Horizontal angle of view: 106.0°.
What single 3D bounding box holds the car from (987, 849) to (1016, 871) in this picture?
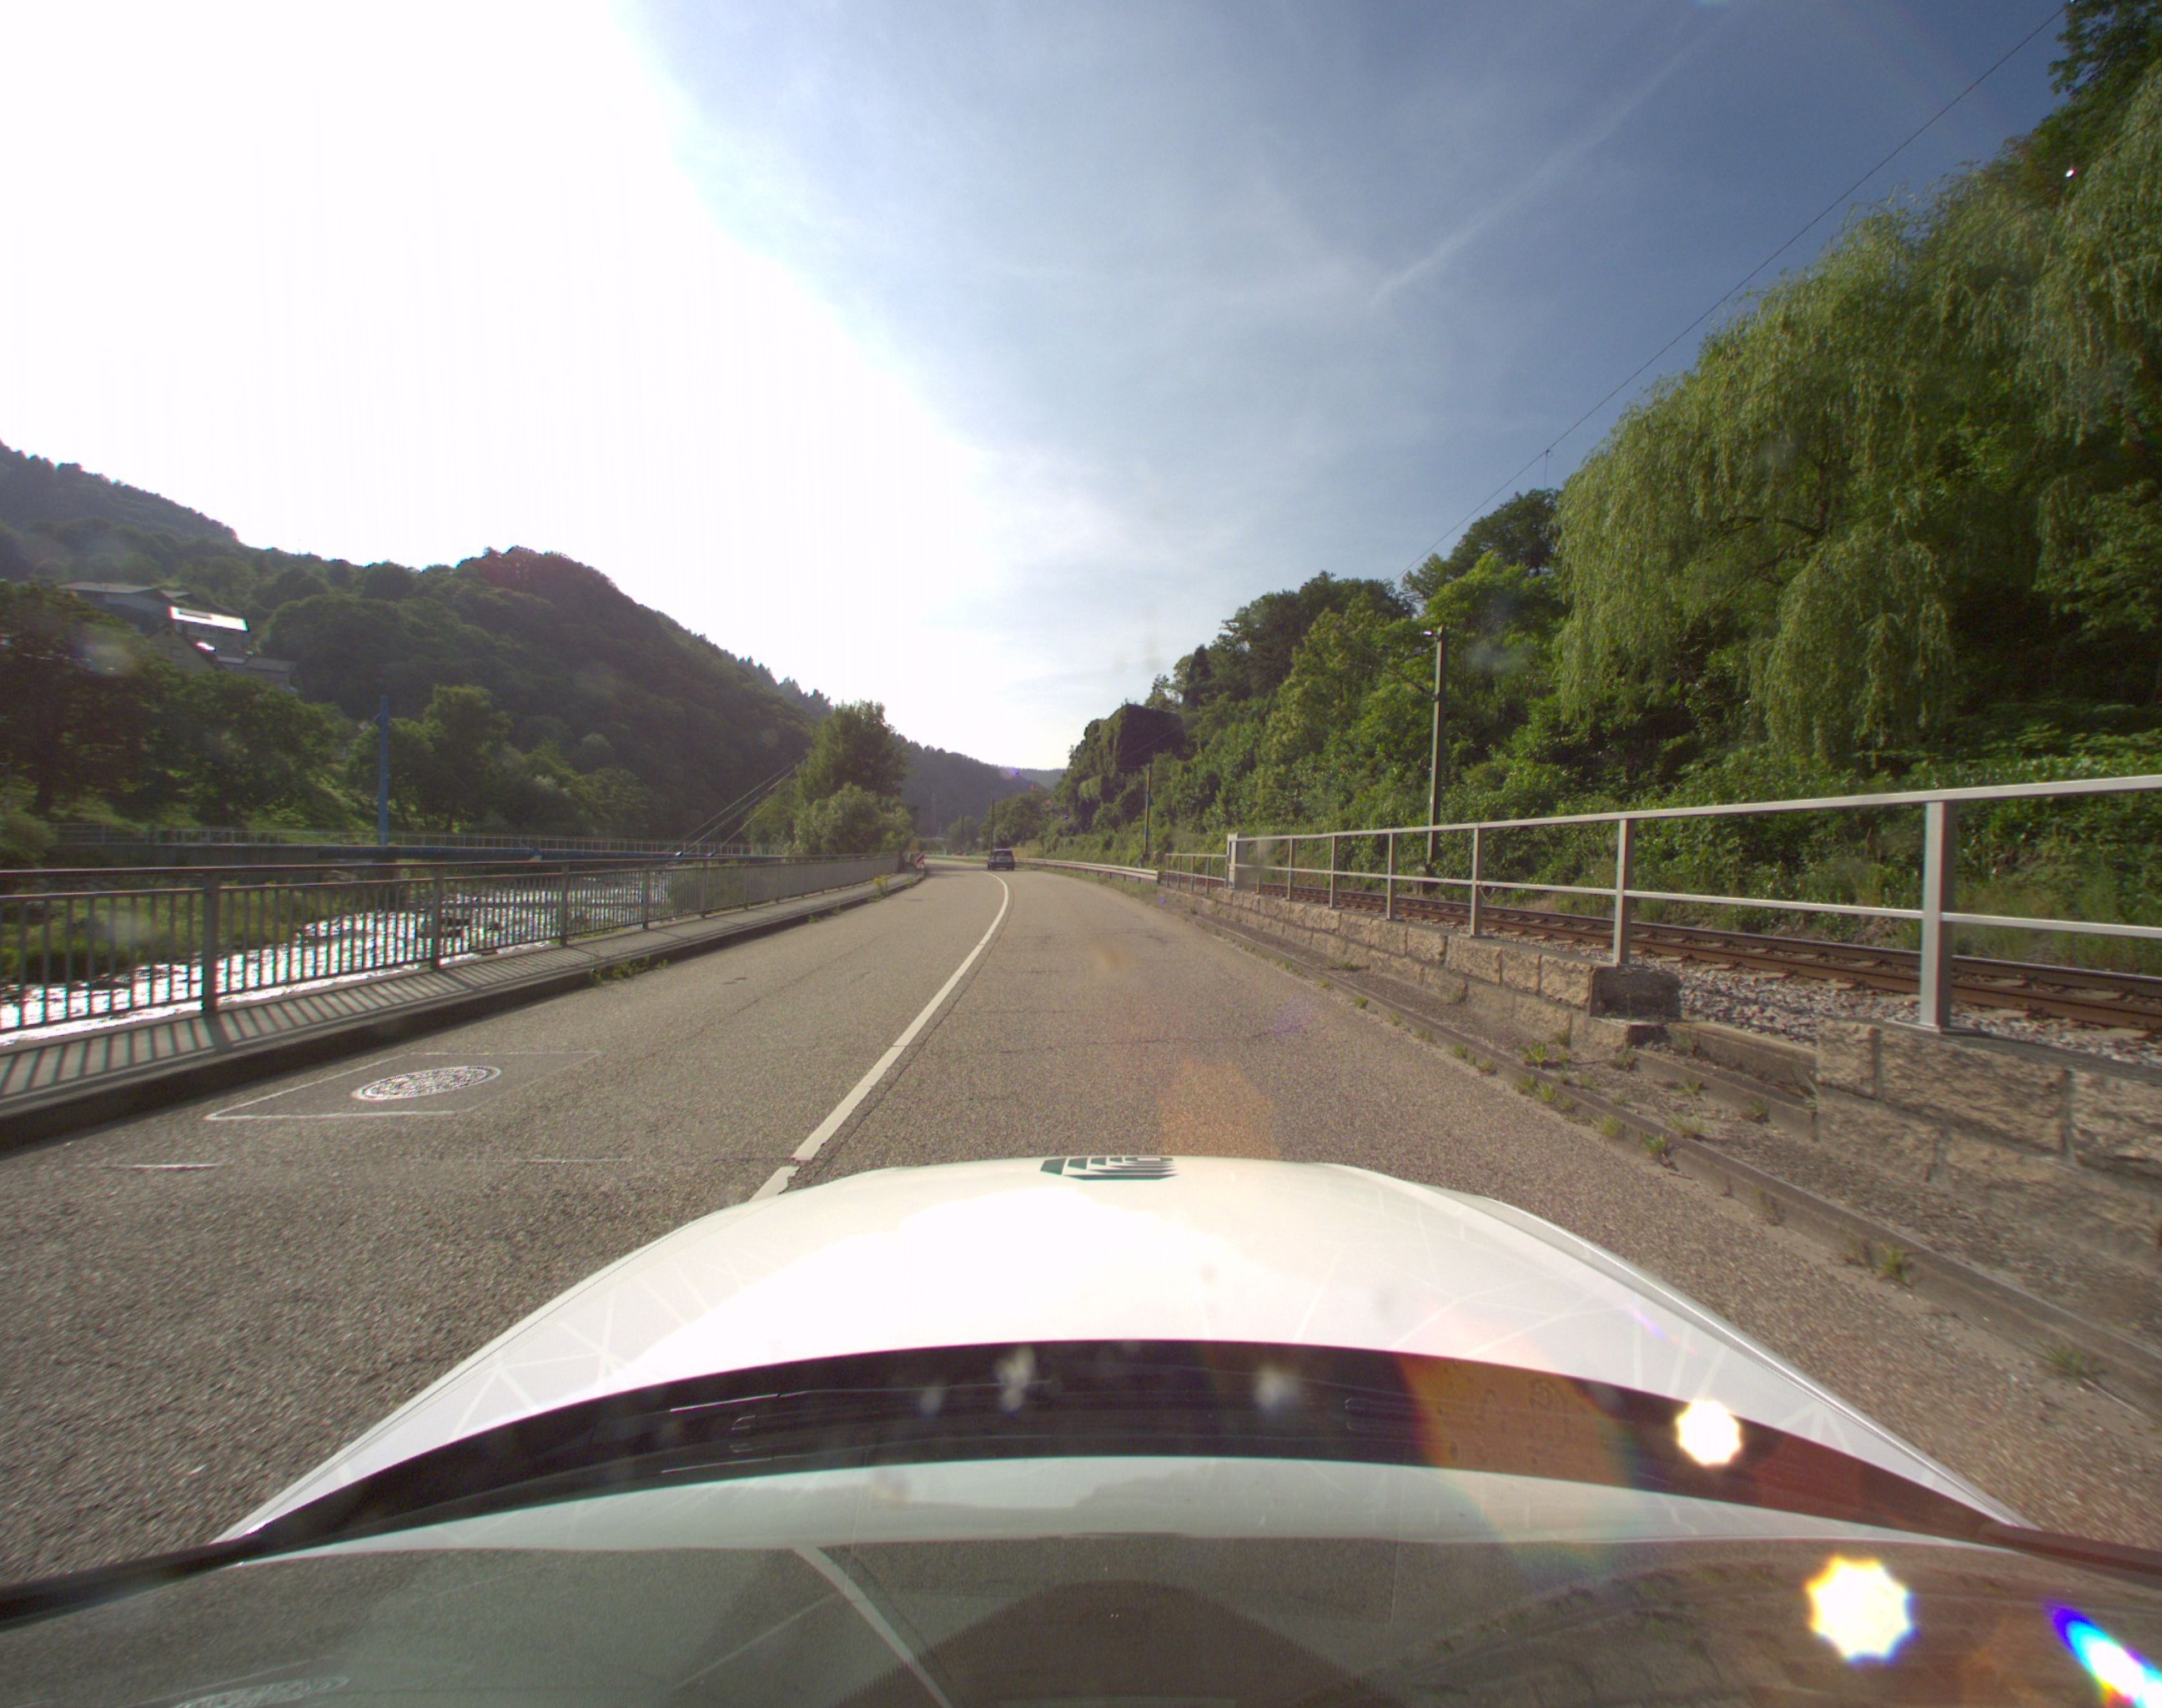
[{"bbox_3d":[-6.217,0.466,63.424,1.873,1.656,3.985,0,0,-11],"label":"car"}]
